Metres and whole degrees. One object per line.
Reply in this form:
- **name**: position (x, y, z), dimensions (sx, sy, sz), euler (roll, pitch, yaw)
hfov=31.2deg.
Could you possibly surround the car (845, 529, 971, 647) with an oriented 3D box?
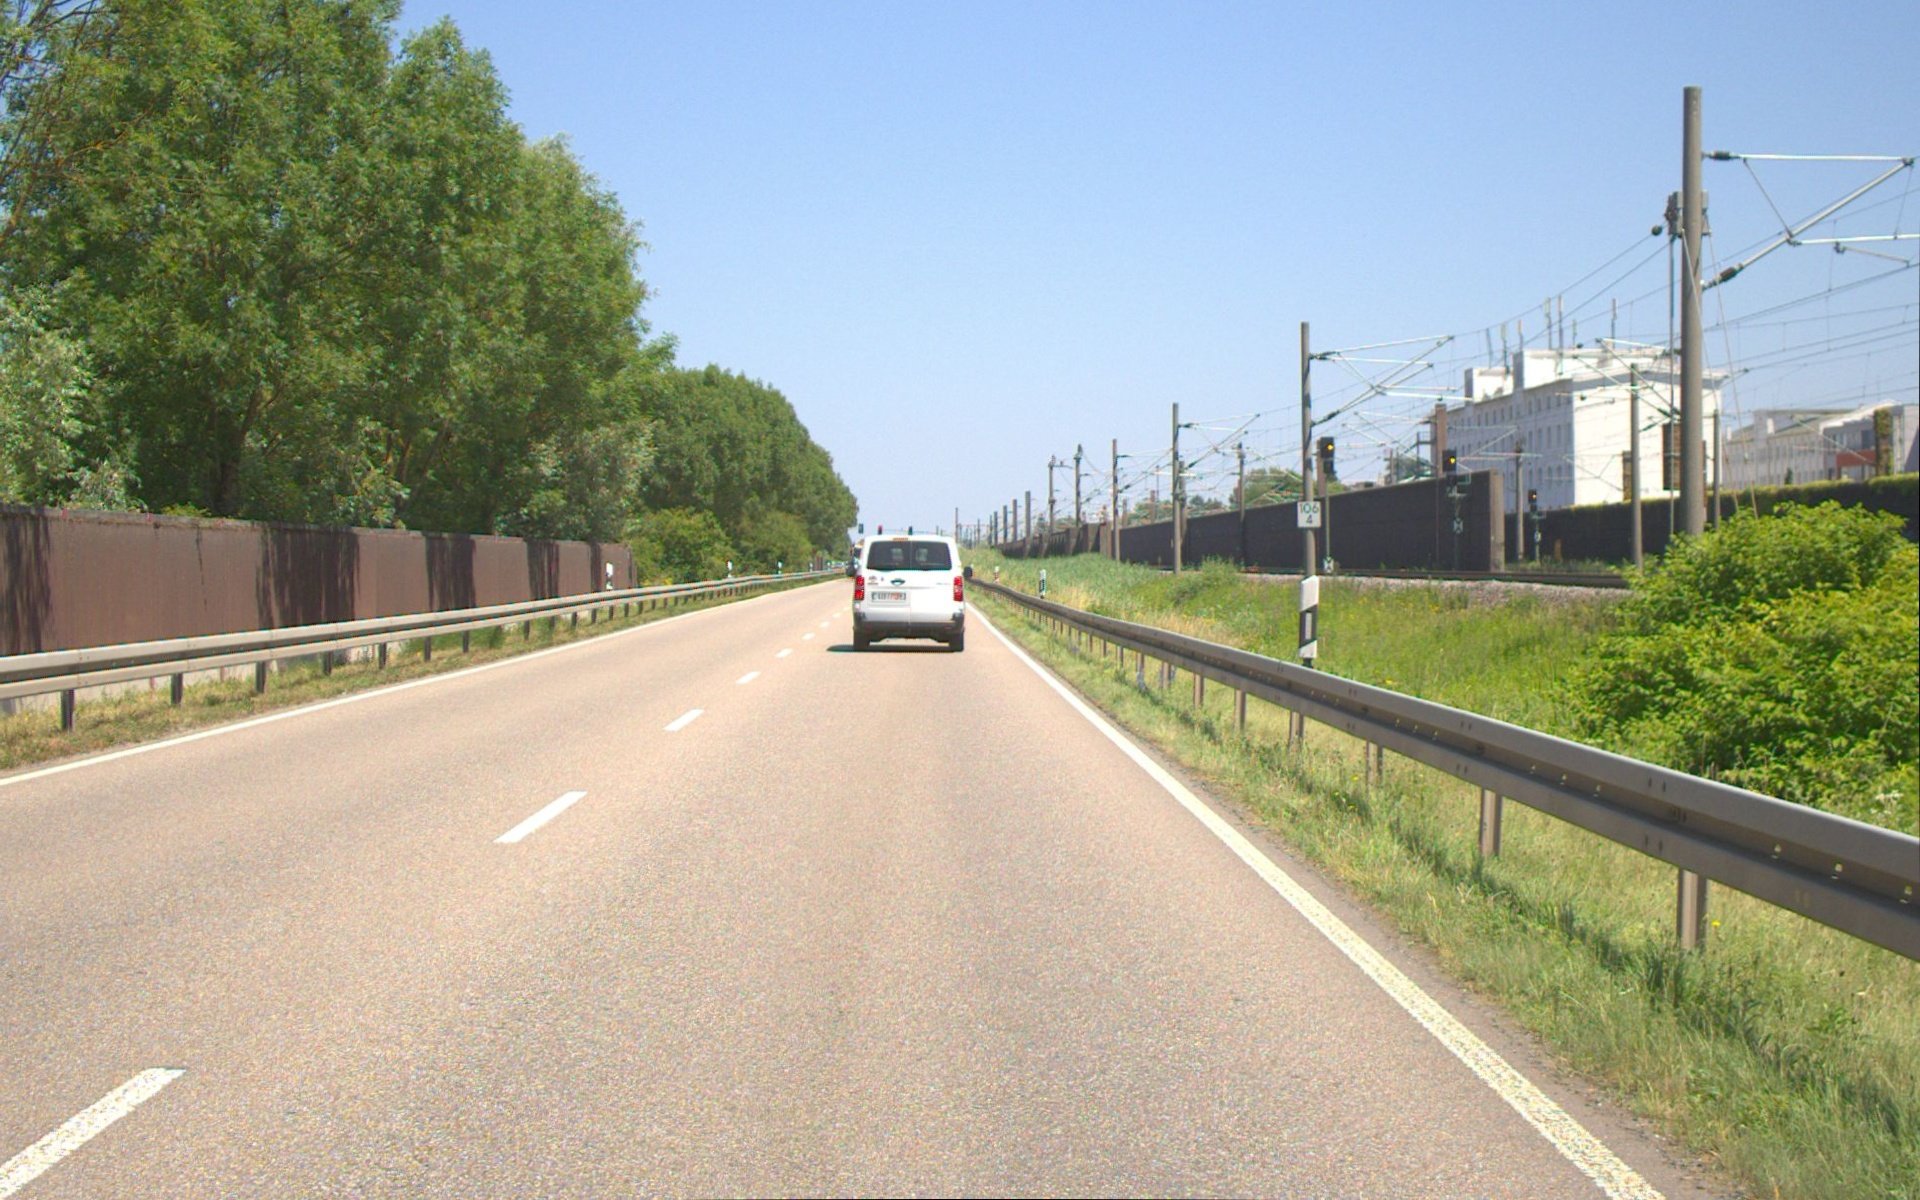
- **car**: position (-0.872, -0.220, 57.815), dimensions (1.993, 1.843, 4.000), euler (2, 1, -1)
